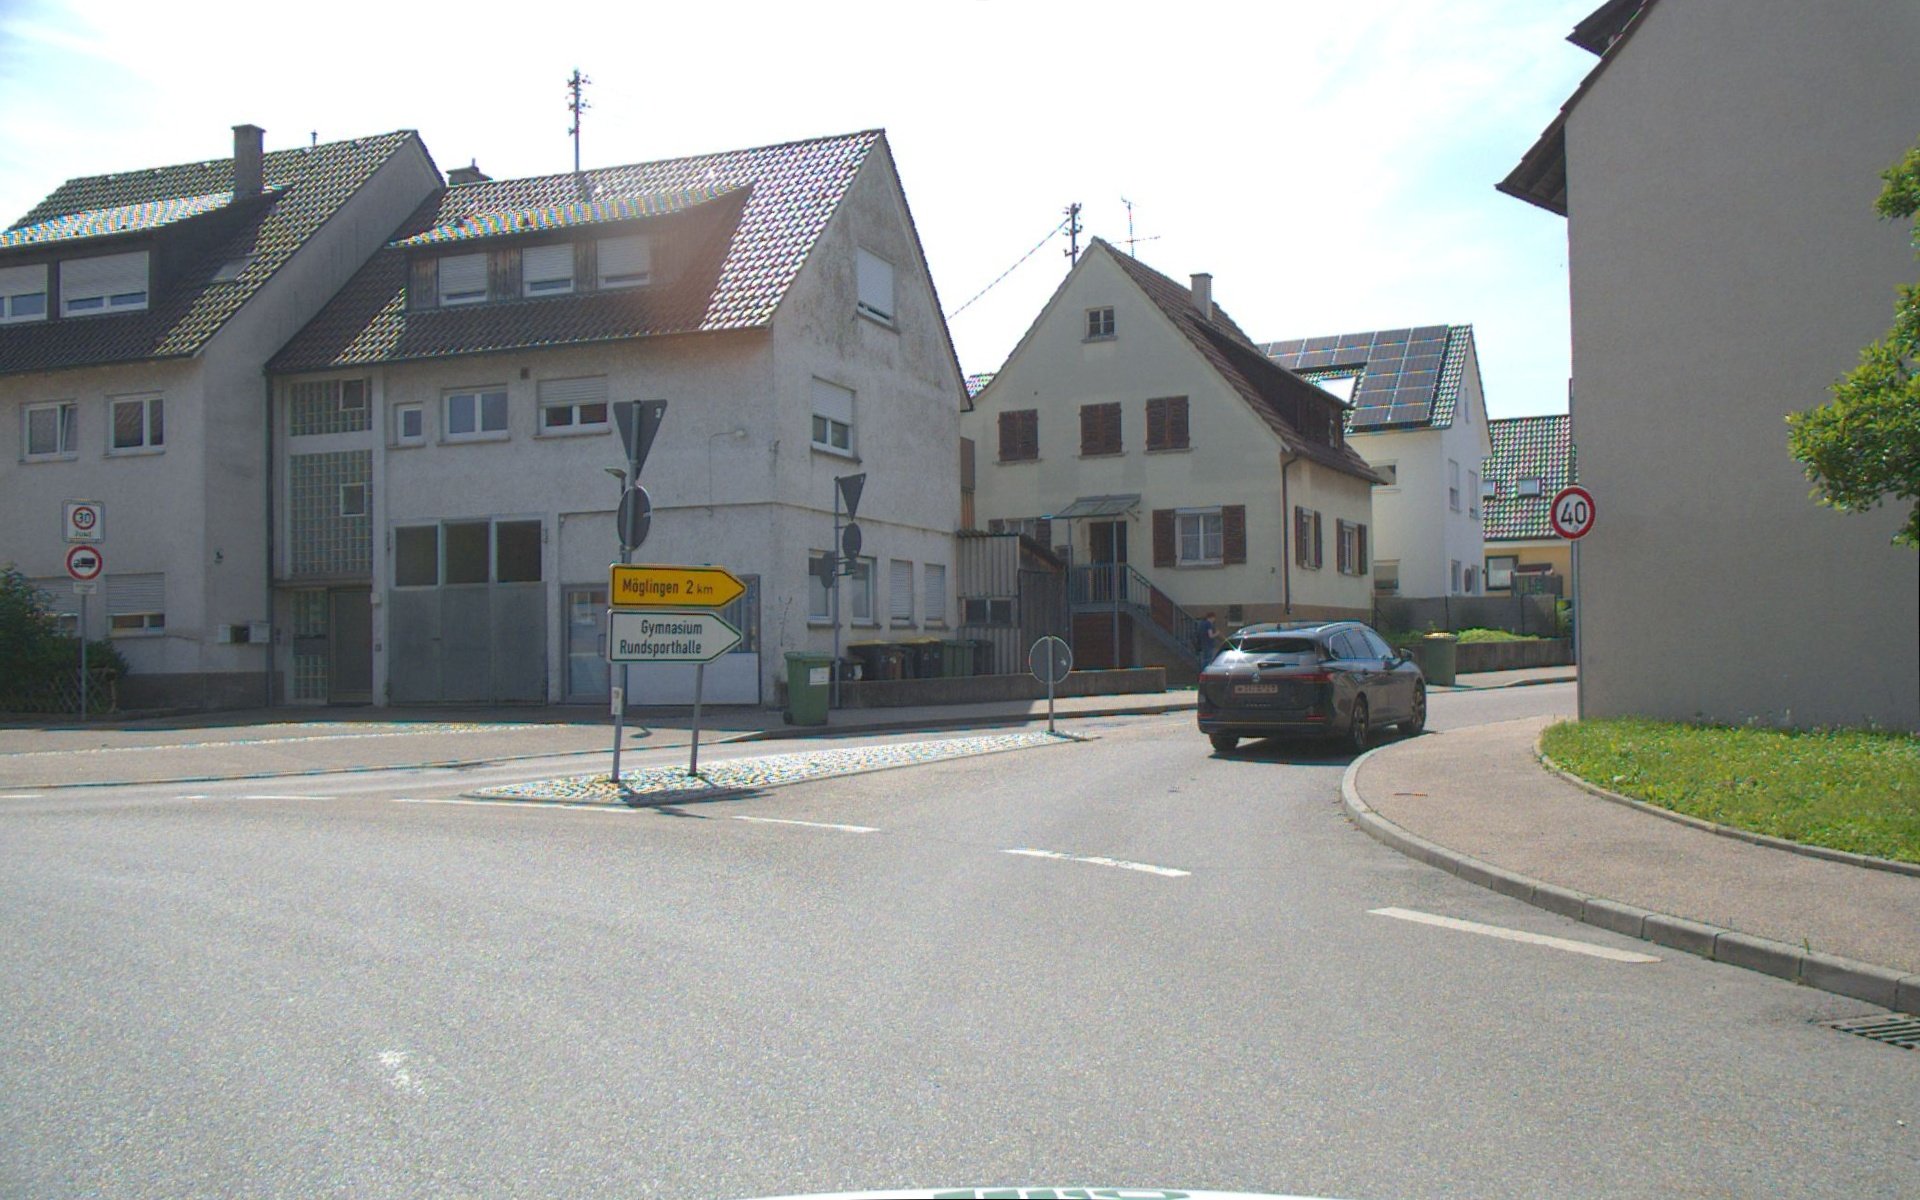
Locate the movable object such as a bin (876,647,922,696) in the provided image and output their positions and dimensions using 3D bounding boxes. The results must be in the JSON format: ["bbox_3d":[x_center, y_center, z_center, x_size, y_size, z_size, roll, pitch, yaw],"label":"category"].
[{"bbox_3d":[-1.178,1.372,31.867,0.668,0.912,0.698,-1,-1,18],"label":"movable object such as a bin"}]

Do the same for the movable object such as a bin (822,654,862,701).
[{"bbox_3d":[-2.092,1.378,29.460,0.475,0.819,0.647,-1,-1,20],"label":"movable object such as a bin"}]

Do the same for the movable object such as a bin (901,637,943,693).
[{"bbox_3d":[-0.757,1.297,33.138,0.668,1.101,0.626,-1,-1,18],"label":"movable object such as a bin"}]

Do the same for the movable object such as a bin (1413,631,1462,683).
[{"bbox_3d":[10.210,1.219,35.379,0.779,1.076,0.647,-2,-1,41],"label":"movable object such as a bin"}]

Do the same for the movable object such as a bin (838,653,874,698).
[{"bbox_3d":[-1.888,1.365,30.008,0.475,0.794,0.527,-1,-1,18],"label":"movable object such as a bin"}]

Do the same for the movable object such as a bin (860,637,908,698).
[{"bbox_3d":[-1.430,1.267,31.184,0.668,1.105,0.698,-1,-1,18],"label":"movable object such as a bin"}]

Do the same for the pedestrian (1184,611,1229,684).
[{"bbox_3d":[5.495,1.065,36.920,0.764,1.601,0.625,-1,-1,36],"label":"pedestrian"}]

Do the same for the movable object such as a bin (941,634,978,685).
[{"bbox_3d":[-0.011,1.263,34.937,0.614,1.053,0.604,-1,-1,18],"label":"movable object such as a bin"}]

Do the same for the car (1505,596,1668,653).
[{"bbox_3d":[19.065,0.762,50.408,4.322,1.651,1.995,-2,-1,33],"label":"car"}]

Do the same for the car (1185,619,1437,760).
[{"bbox_3d":[4.426,0.997,20.274,1.806,1.445,4.676,-1,0,28],"label":"car"}]

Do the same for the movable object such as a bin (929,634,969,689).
[{"bbox_3d":[-0.229,1.276,34.340,0.664,1.101,0.584,-1,-1,18],"label":"movable object such as a bin"}]

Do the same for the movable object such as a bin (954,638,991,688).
[{"bbox_3d":[0.273,1.341,35.486,0.615,1.052,0.613,-1,-1,18],"label":"movable object such as a bin"}]

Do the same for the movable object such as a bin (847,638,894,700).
[{"bbox_3d":[-1.652,1.270,30.502,0.668,1.105,0.645,-1,-1,18],"label":"movable object such as a bin"}]

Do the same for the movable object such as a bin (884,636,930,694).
[{"bbox_3d":[-1.032,1.268,32.316,0.668,1.101,0.698,-1,-1,18],"label":"movable object such as a bin"}]

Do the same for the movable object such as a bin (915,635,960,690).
[{"bbox_3d":[-0.450,1.276,33.718,0.723,1.101,0.660,-1,-1,18],"label":"movable object such as a bin"}]

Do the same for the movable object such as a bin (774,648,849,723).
[{"bbox_3d":[-2.208,1.263,24.635,0.817,1.063,0.801,-1,-1,-35],"label":"movable object such as a bin"}]
